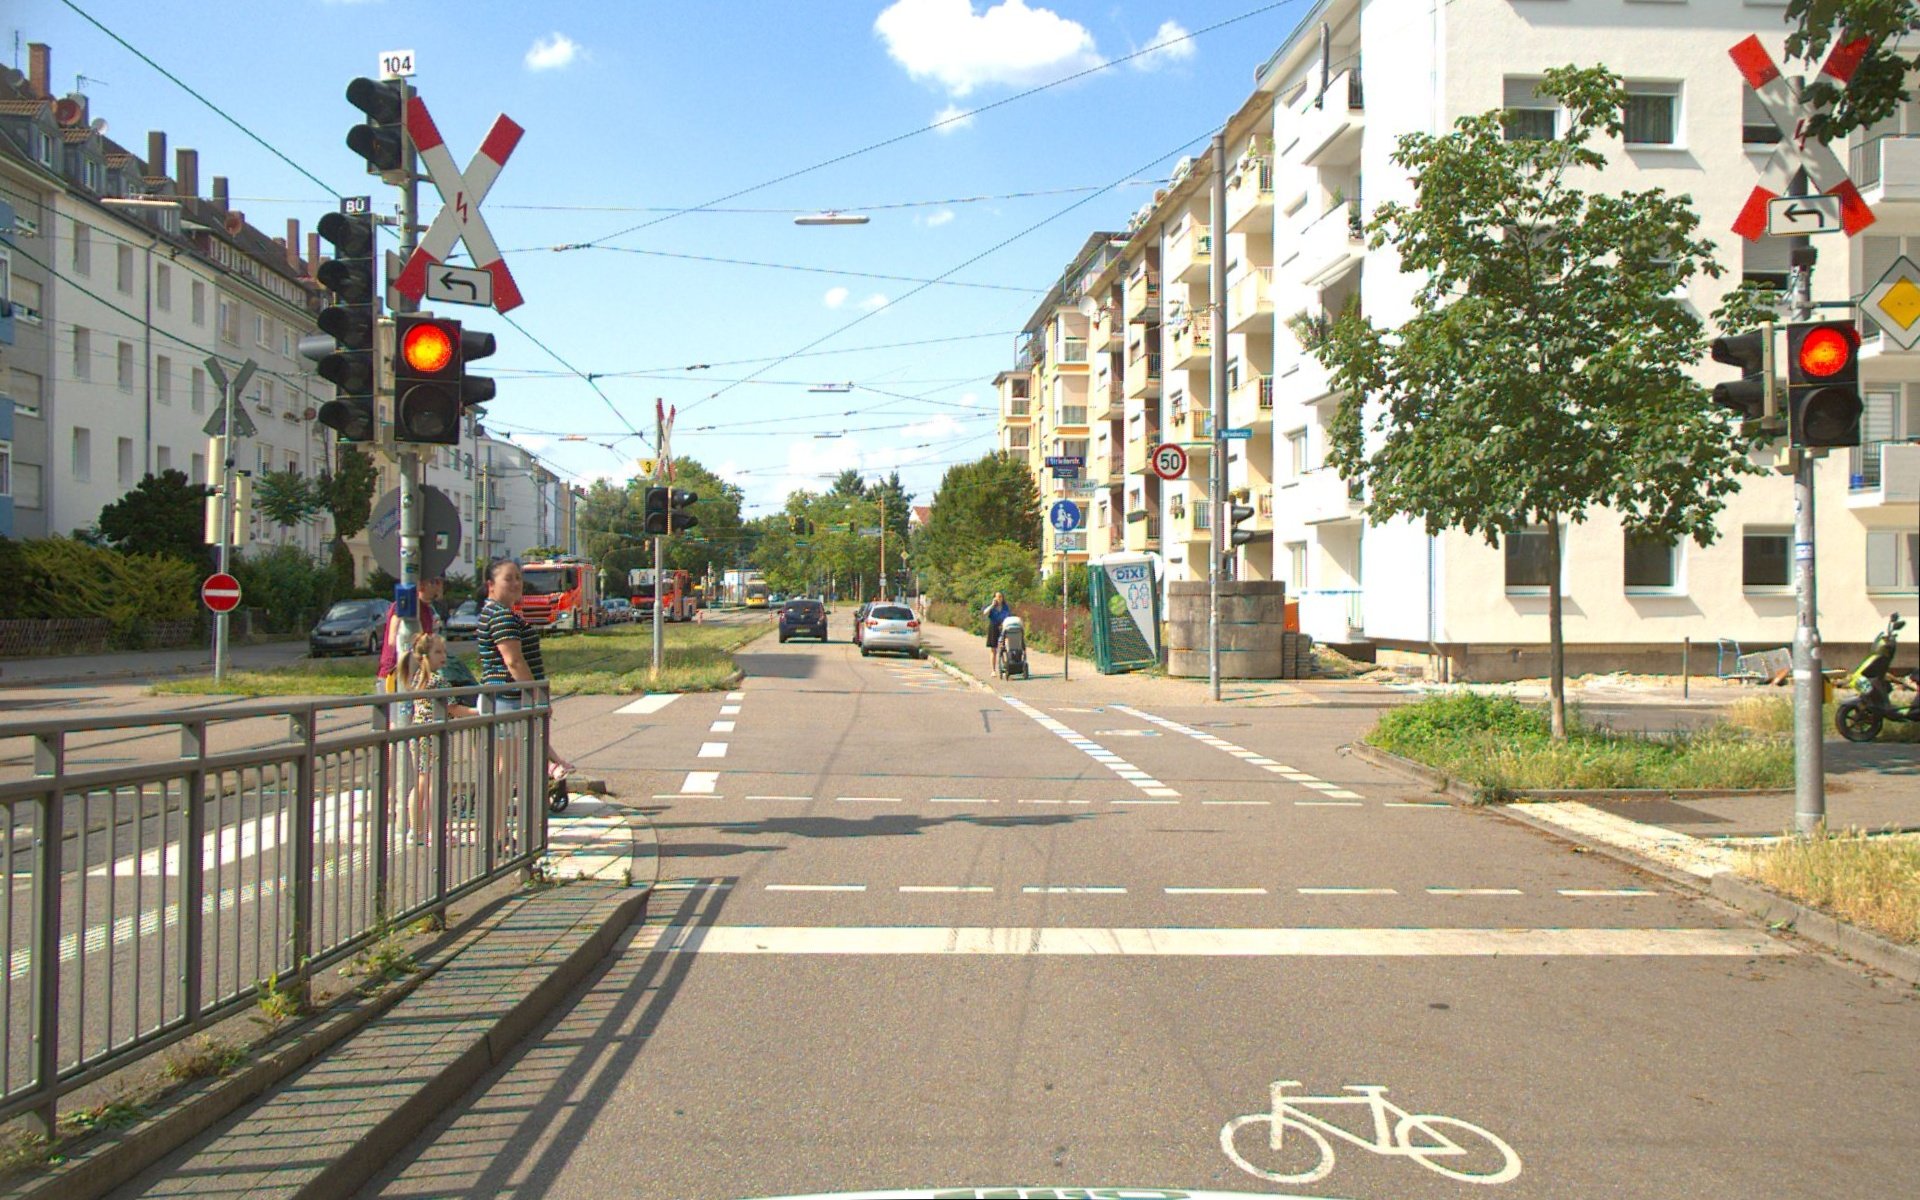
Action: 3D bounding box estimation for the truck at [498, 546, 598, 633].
[{"bbox_3d":[-16.430,-0.372,66.482,2.545,3.241,8.373,1,0,-5],"label":"truck"}]

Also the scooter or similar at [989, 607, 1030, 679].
[{"bbox_3d":[0.961,0.833,32.374,0.649,1.326,0.868,-3,0,-4],"label":"scooter or similar"}]

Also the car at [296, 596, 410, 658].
[{"bbox_3d":[-17.604,0.757,48.178,1.954,1.674,3.998,2,0,-3],"label":"car"}]

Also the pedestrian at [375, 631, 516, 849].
[{"bbox_3d":[-3.032,0.789,9.723,0.630,1.201,0.790,0,-1,-31],"label":"pedestrian"}]

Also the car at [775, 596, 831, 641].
[{"bbox_3d":[-5.605,0.658,59.338,1.709,1.533,3.998,2,0,-2],"label":"car"}]

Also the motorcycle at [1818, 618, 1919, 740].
[{"bbox_3d":[10.218,0.830,17.612,0.565,1.236,1.826,-5,1,-32],"label":"motorcycle"}]

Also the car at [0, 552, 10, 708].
[{"bbox_3d":[-15.315,0.465,22.483,1.952,2.315,4.834,-1,0,1],"label":"car"}]

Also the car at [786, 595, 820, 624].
[{"bbox_3d":[-8.712,0.555,91.987,1.709,1.533,3.997,2,0,-4],"label":"car"}]

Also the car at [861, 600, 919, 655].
[{"bbox_3d":[-2.054,0.784,48.223,1.590,1.490,3.508,2,0,-3],"label":"car"}]

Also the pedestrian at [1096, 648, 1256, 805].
[{"bbox_3d":[3.168,1.818,25.023,1.952,2.049,4.001,1,0,1],"label":"pedestrian"}]

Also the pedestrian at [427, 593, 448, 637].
[{"bbox_3d":[-21.905,0.625,69.393,0.692,1.825,0.863,0,0,-7],"label":"pedestrian"}]

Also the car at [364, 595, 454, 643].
[{"bbox_3d":[-18.001,0.616,54.186,1.733,1.467,3.998,2,0,-3],"label":"car"}]

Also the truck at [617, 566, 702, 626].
[{"bbox_3d":[-18.759,-0.179,103.982,2.610,3.531,10.173,1,0,5],"label":"truck"}]

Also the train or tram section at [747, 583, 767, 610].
[{"bbox_3d":[-23.707,-0.412,193.674,2.215,3.122,8.122,0,0,-6],"label":"train or tram section"}]

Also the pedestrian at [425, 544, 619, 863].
[{"bbox_3d":[-2.485,0.552,9.365,0.839,1.697,0.788,0,-1,-36],"label":"pedestrian"}]

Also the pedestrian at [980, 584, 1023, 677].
[{"bbox_3d":[0.822,0.602,33.245,0.687,1.820,1.029,-3,0,-4],"label":"pedestrian"}]

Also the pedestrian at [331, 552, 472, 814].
[{"bbox_3d":[-3.707,0.541,11.023,0.692,1.677,0.636,2,-1,-5],"label":"pedestrian"}]

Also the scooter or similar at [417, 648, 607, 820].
[{"bbox_3d":[-2.946,0.873,10.961,1.078,1.074,0.650,1,-1,-4],"label":"scooter or similar"}]

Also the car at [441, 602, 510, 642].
[{"bbox_3d":[-18.753,0.842,64.137,1.733,1.467,3.996,2,0,-4],"label":"car"}]
